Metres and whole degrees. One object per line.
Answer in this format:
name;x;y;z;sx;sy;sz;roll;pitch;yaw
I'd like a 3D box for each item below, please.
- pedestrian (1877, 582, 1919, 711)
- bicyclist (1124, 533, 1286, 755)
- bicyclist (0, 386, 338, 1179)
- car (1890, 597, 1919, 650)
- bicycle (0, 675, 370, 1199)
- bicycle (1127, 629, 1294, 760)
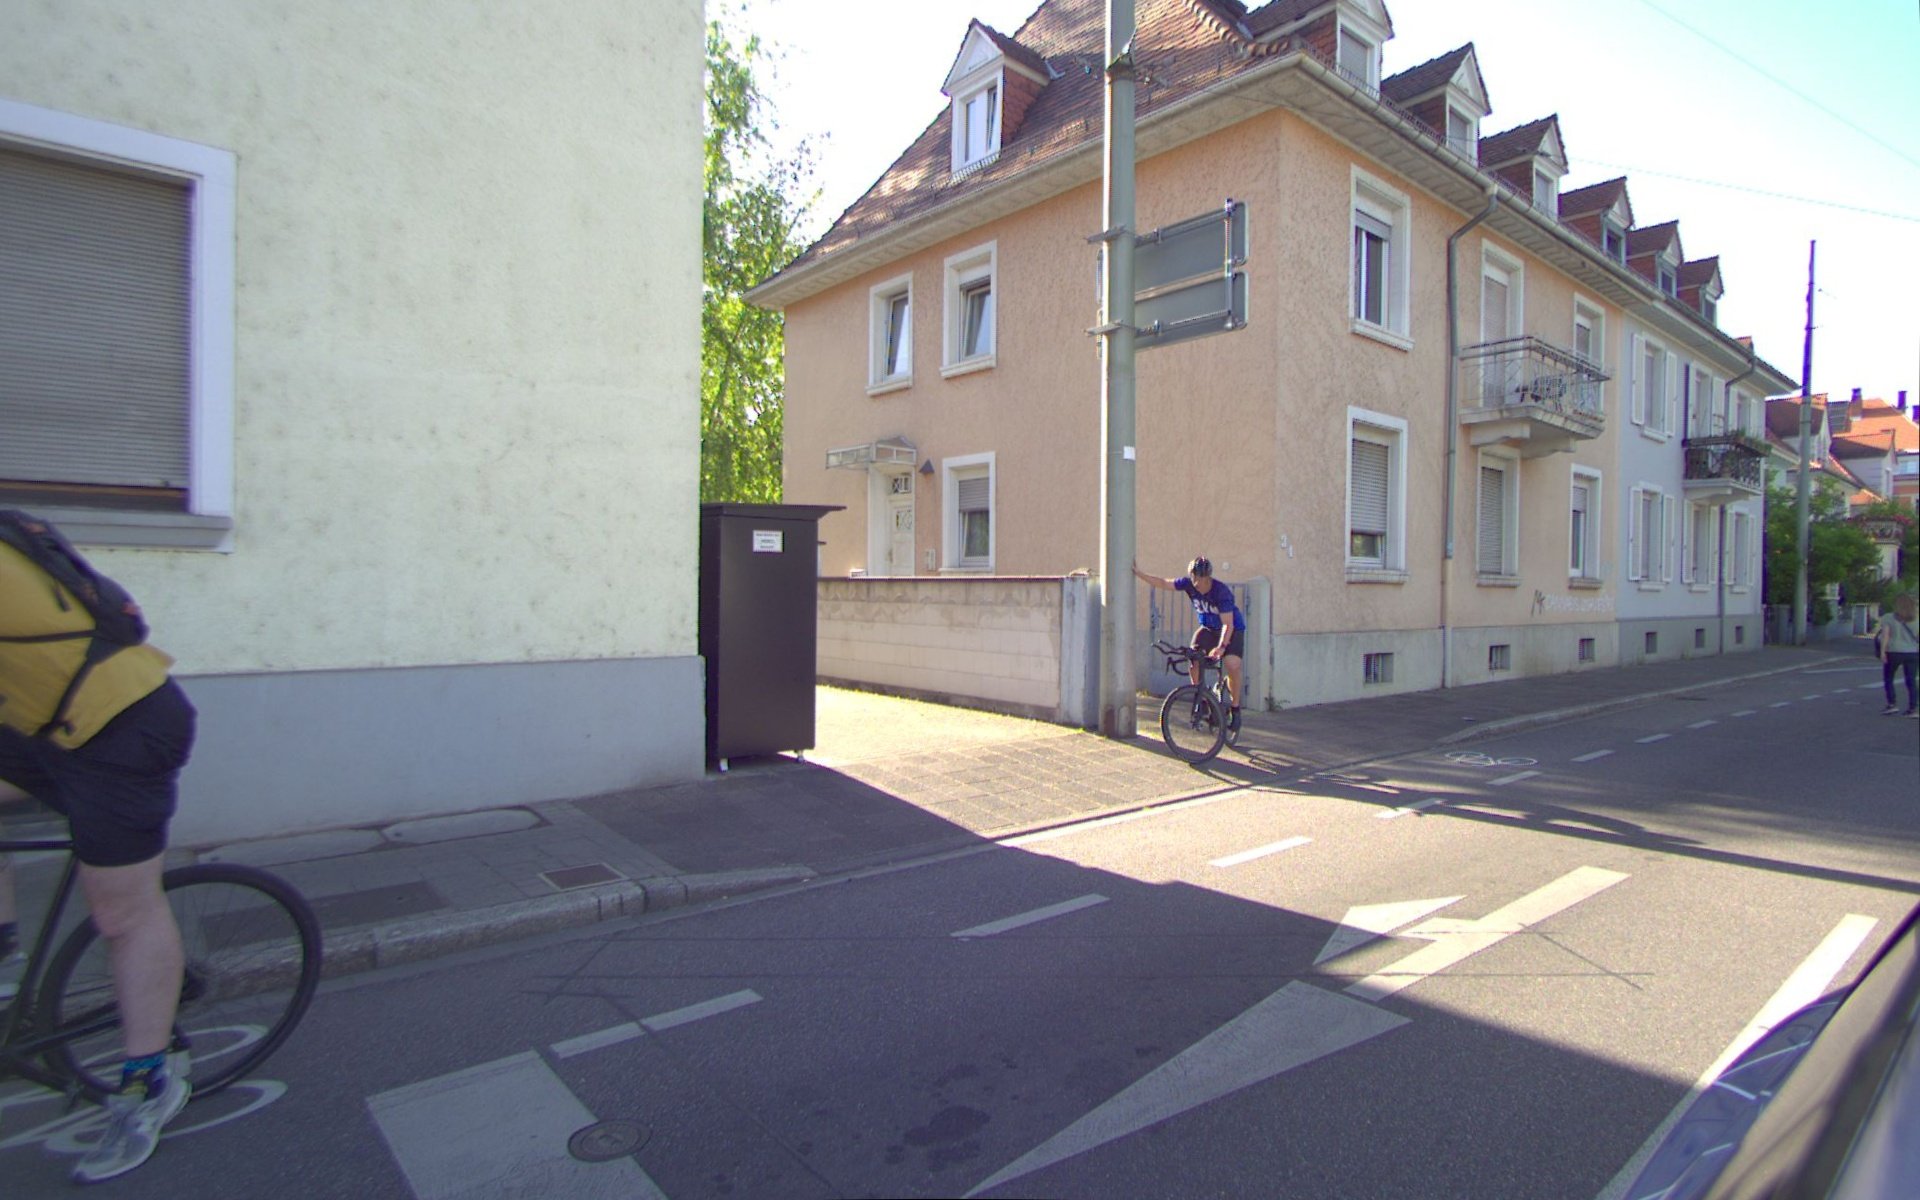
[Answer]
pedestrian;12.878;0.595;13.589;0.691;1.682;1.085;0;0;35
bicyclist;2.271;0.357;9.436;0.831;1.887;1.076;0;4;-40
bicyclist;-2.313;0.419;2.701;1.018;1.840;0.653;0;1;-41
car;26.684;0.624;27.347;3.796;1.382;1.648;0;1;-38
bicycle;-2.489;0.841;2.536;1.669;1.180;0.572;0;1;-41
bicycle;2.304;0.814;9.211;1.669;1.003;0.572;0;4;-41
